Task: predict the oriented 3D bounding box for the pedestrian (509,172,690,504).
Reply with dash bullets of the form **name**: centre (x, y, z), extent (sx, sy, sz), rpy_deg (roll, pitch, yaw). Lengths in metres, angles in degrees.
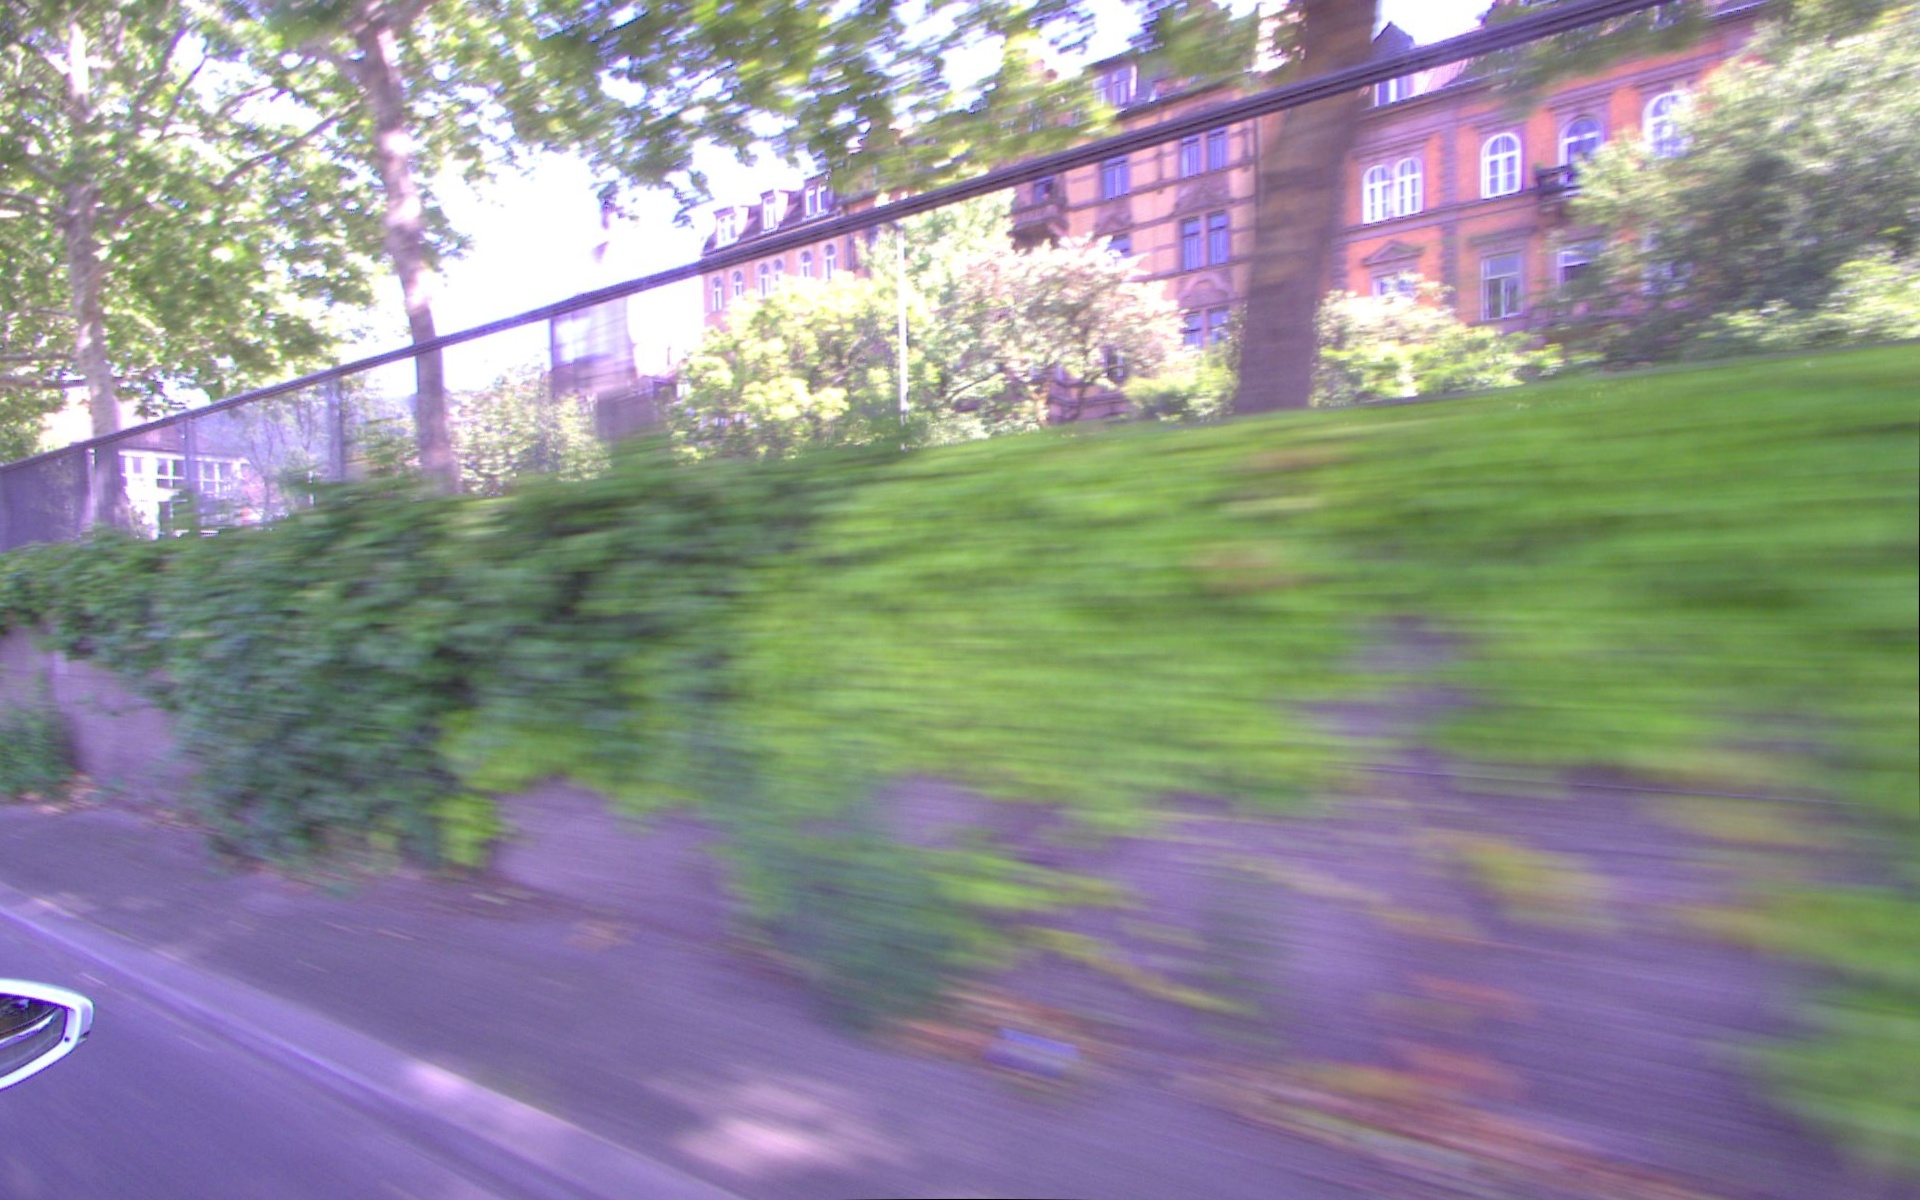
- **pedestrian**: centre (-1.999, -1.381, 5.589), extent (0.641, 1.613, 0.663), rpy_deg (0, 2, 32)
